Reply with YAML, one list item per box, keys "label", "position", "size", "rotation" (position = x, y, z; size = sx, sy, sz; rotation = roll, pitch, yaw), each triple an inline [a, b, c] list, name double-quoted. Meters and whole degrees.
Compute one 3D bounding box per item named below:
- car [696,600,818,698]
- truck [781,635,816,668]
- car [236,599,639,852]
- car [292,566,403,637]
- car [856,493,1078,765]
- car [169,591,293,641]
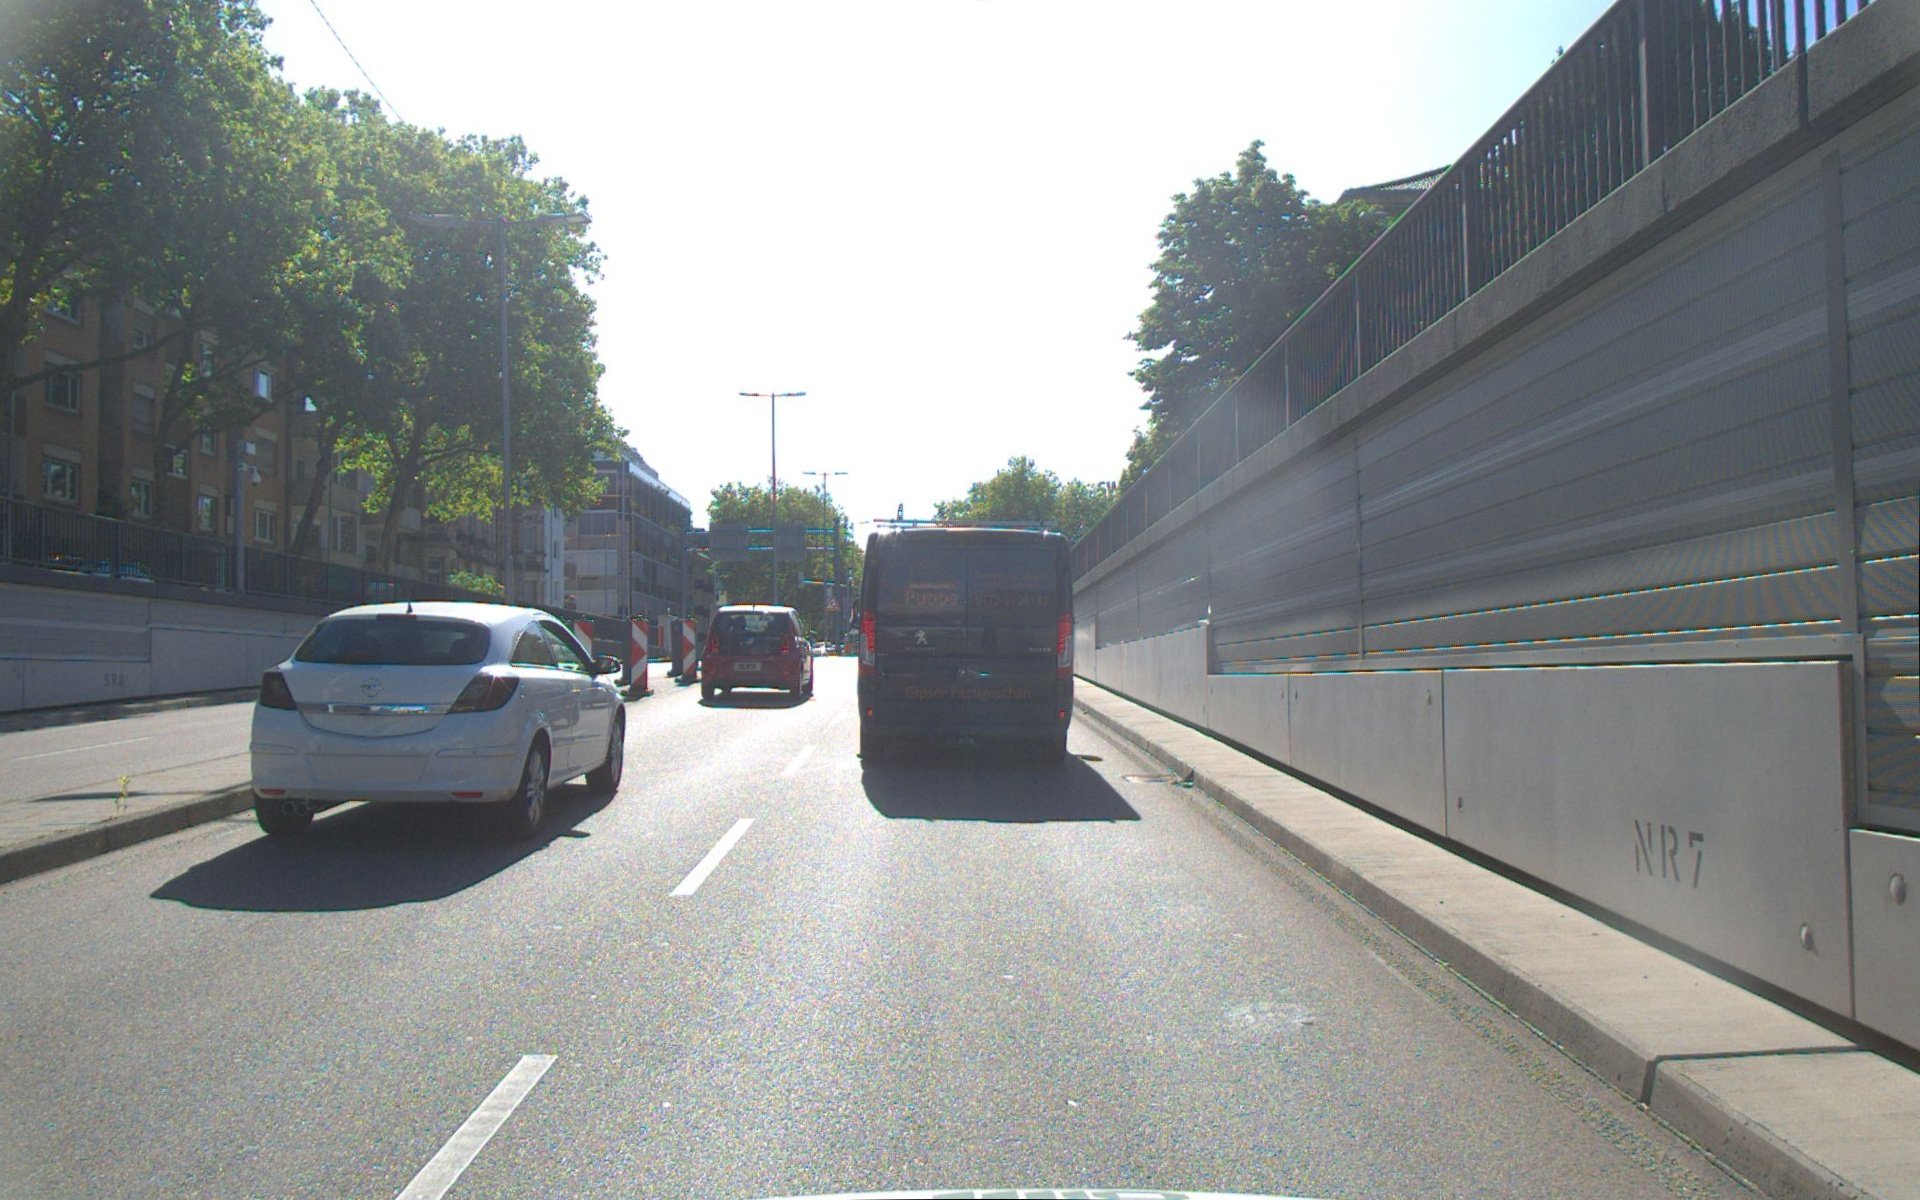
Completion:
- label: "car"
  position: [-3.289, 0.783, 27.305]
  size: [1.655, 1.509, 3.317]
  rotation: [1, -1, -1]
- label: "truck"
  position: [-13.489, 4.350, 138.374]
  size: [2.183, 2.572, 6.128]
  rotation: [-2, -2, 0]
- label: "car"
  position: [-3.344, 0.743, 11.350]
  size: [1.586, 1.428, 3.851]
  rotation: [1, -1, -1]
- label: "car"
  position: [-22.324, 0.106, 60.534]
  size: [1.953, 2.401, 5.418]
  rotation: [0, -2, 0]
- label: "car"
  position: [0.035, 0.288, 16.861]
  size: [1.989, 2.445, 3.971]
  rotation: [0, -1, -1]
- label: "car"
  position: [-22.284, 0.532, 50.743]
  size: [1.953, 1.413, 4.170]
  rotation: [0, -2, -1]
